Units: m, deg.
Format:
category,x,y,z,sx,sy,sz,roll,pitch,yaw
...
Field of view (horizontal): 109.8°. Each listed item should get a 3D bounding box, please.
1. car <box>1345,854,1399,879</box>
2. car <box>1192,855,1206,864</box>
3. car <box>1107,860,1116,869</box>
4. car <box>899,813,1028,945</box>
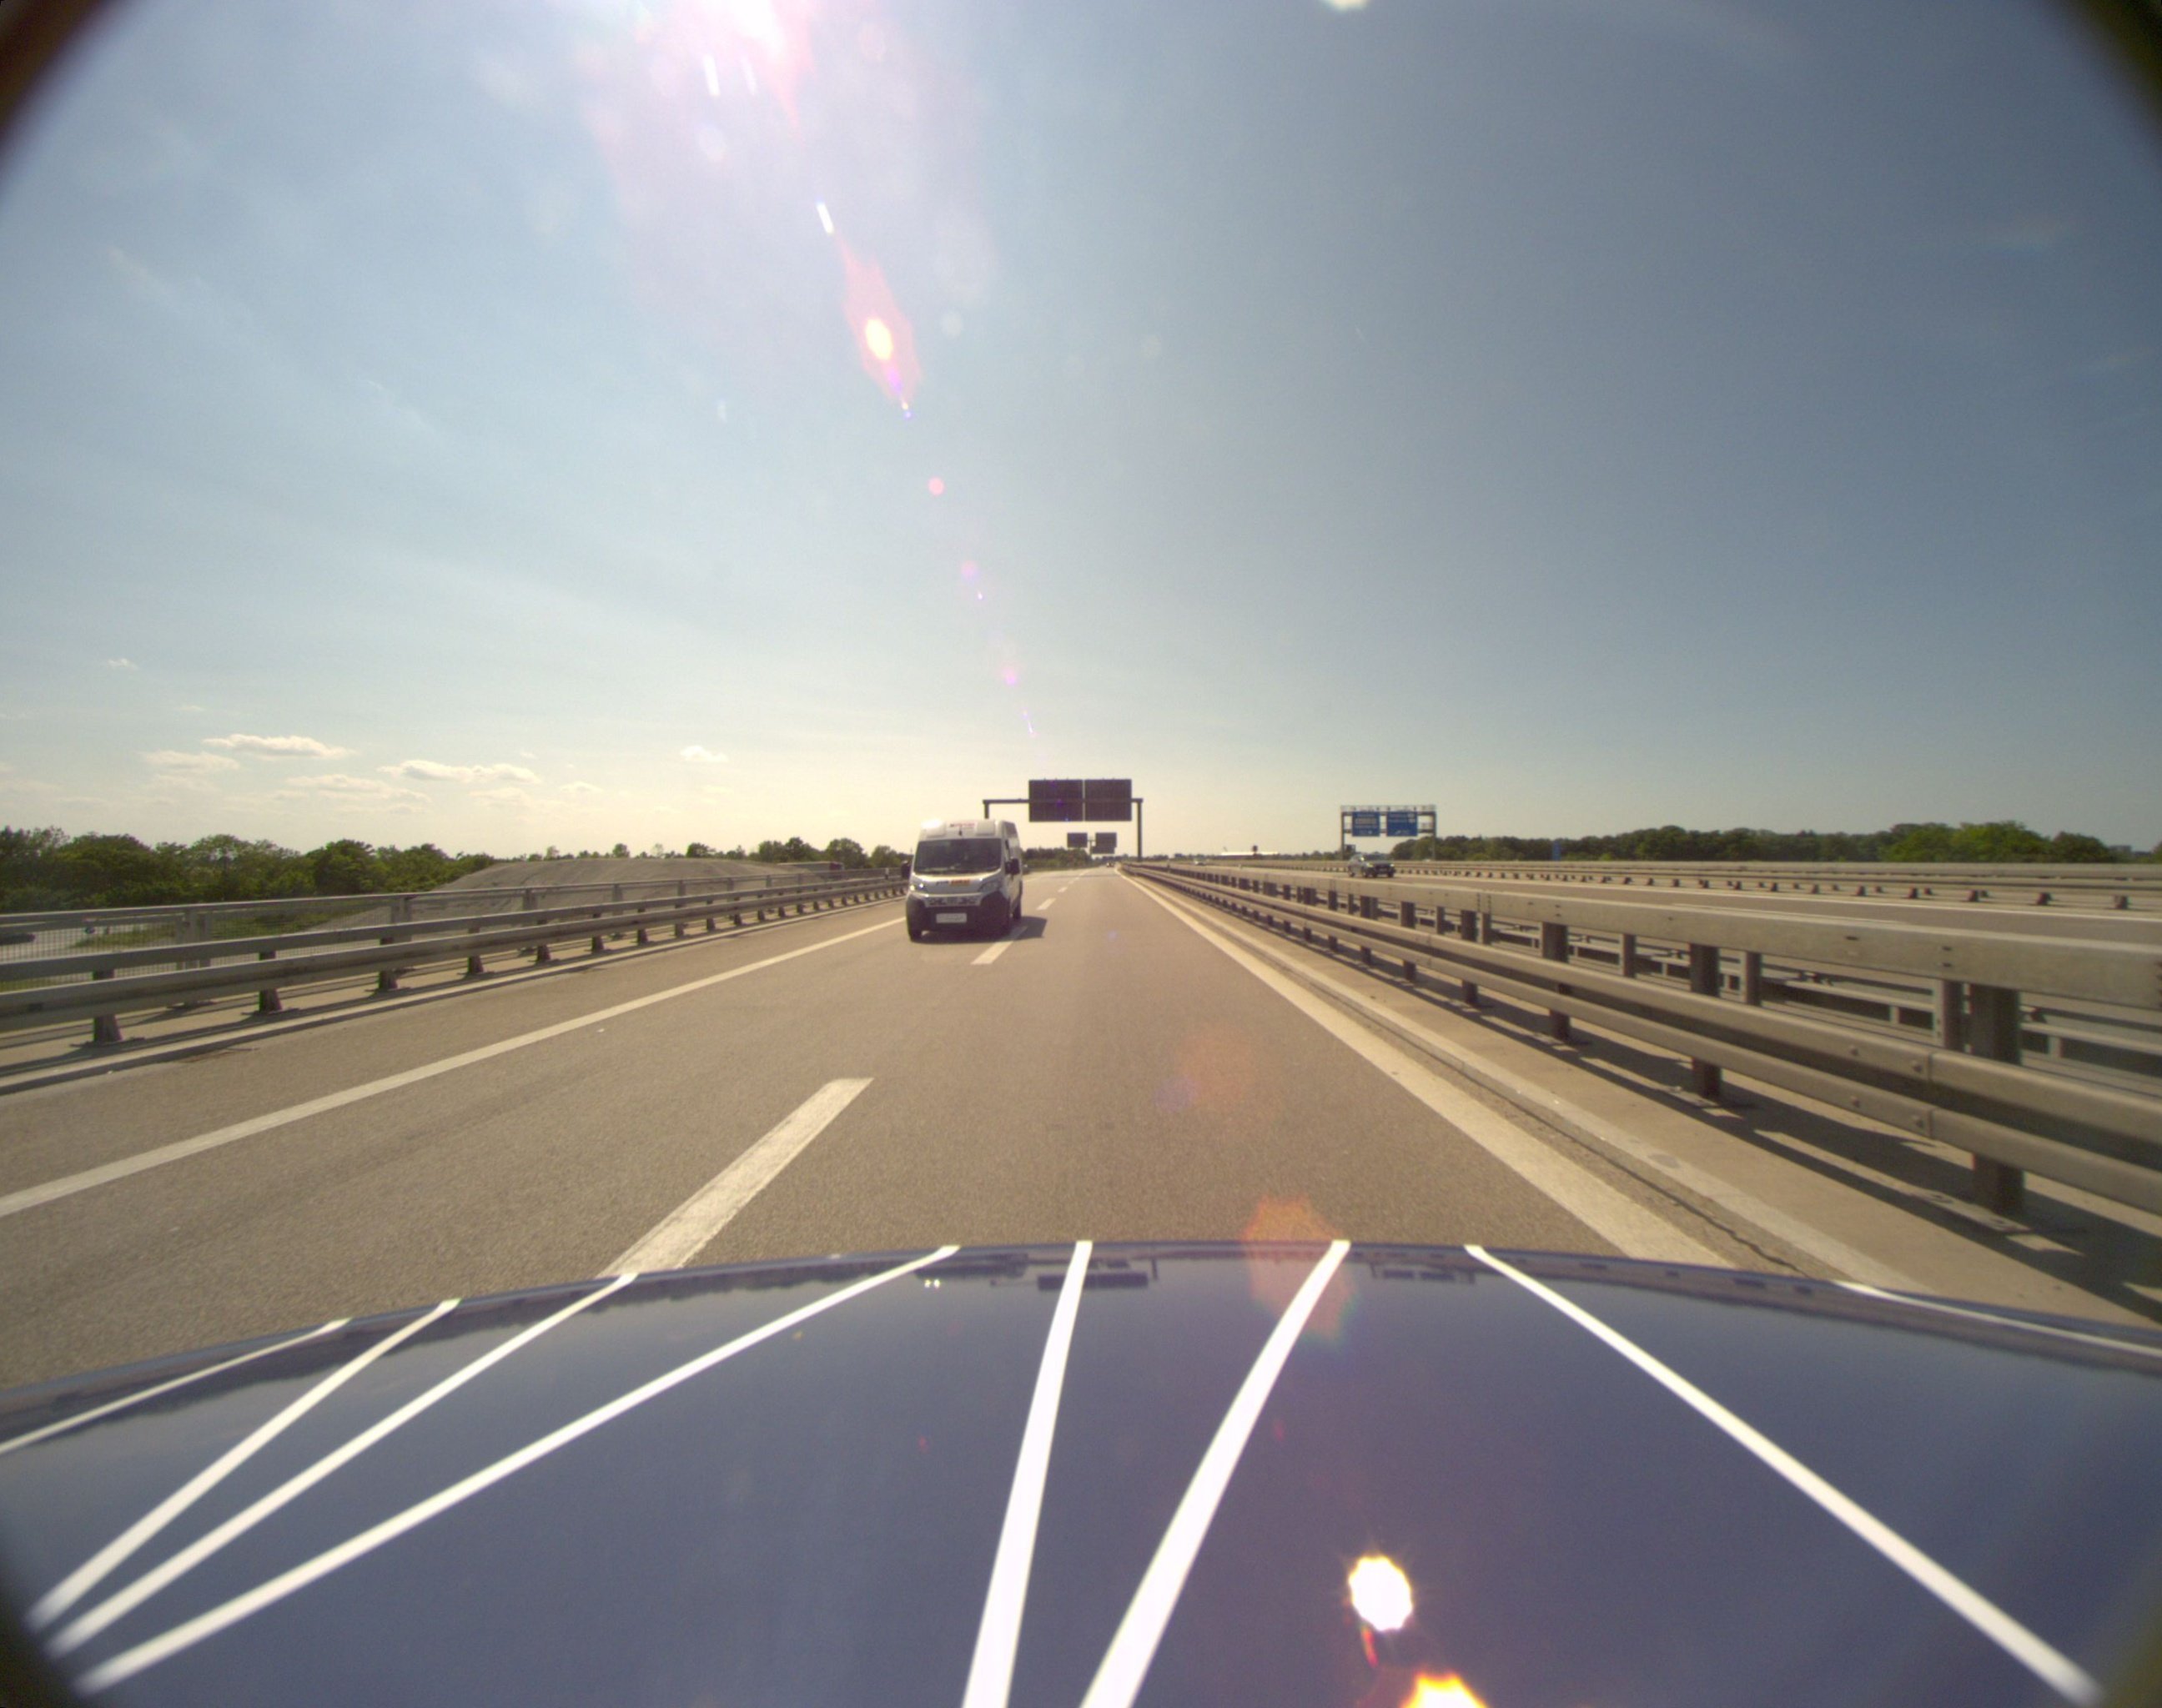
category,x,y,z,sx,sy,sz,roll,pitch,yaw
car,18.860,0.783,49.482,1.842,1.508,4.576,-1,0,1
car,20.214,0.880,130.056,1.842,1.508,4.576,-1,0,1
car,6.797,2.324,167.486,1.998,1.744,4.001,-1,0,3
car,-2.468,0.510,17.704,2.087,2.509,6.237,-1,-1,-1
